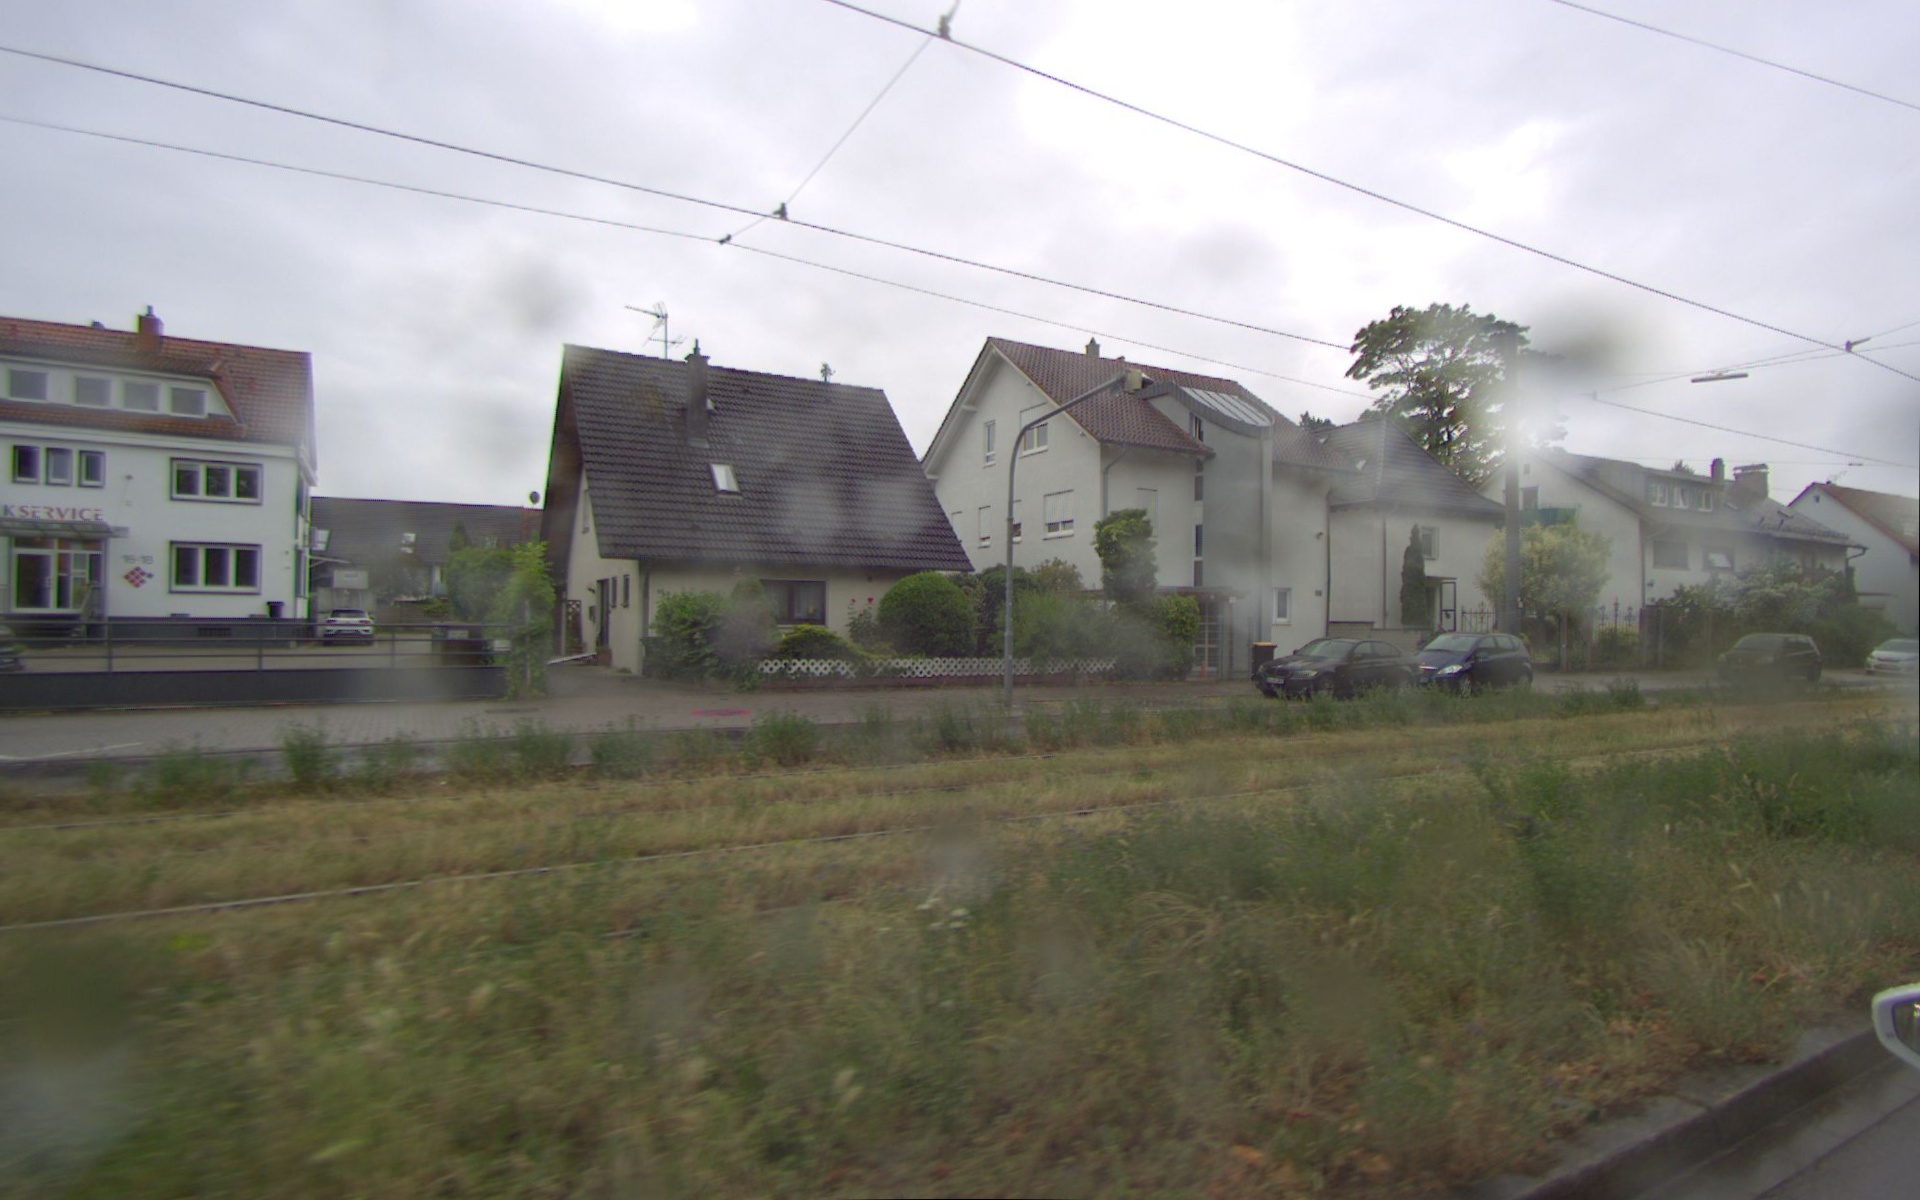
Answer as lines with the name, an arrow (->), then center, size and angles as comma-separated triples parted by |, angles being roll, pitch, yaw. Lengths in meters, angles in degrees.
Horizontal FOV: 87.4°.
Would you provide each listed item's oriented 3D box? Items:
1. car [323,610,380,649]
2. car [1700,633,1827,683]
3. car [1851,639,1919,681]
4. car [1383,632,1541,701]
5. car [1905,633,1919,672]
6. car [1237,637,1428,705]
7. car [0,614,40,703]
car -> -25.893, 1.230, 42.659 | 1.940, 1.572, 3.964 | 1, -2, -33
car -> 27.671, 1.947, 34.566 | 4.154, 1.536, 1.985 | 1, 0, -29
car -> 37.742, 2.390, 40.404 | 3.553, 1.508, 1.788 | 1, 0, -29
car -> 12.967, 1.646, 25.919 | 3.825, 1.571, 1.864 | 1, 0, -31
car -> 43.408, 2.294, 43.778 | 4.359, 1.635, 1.985 | 1, 0, -29
car -> 8.782, 1.609, 23.661 | 4.188, 1.369, 1.985 | 1, 0, -29
car -> -17.847, 0.951, 16.353 | 3.925, 1.430, 1.690 | 1, 0, -31
